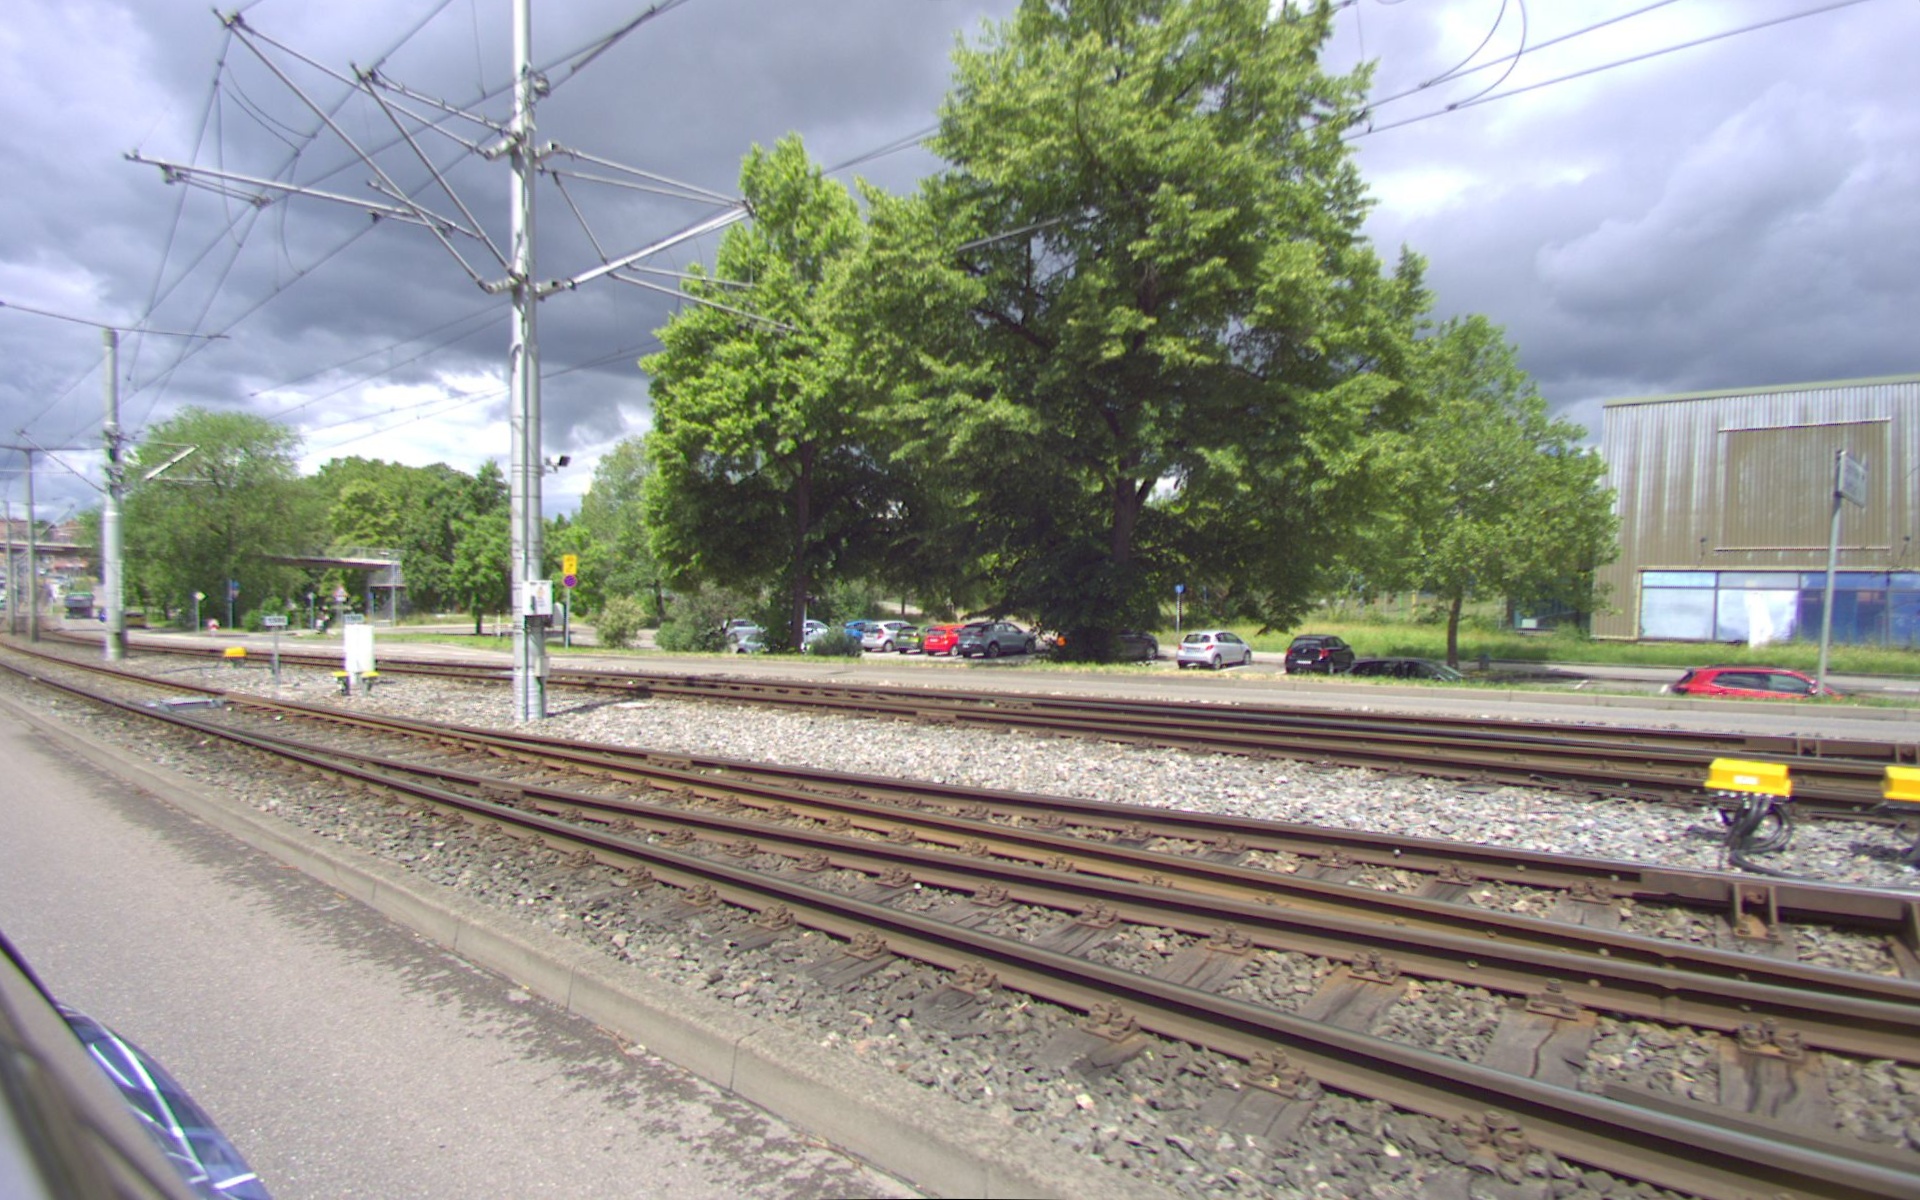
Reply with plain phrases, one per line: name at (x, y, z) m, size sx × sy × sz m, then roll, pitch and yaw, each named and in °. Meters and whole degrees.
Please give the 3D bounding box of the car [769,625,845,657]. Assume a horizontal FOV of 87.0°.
car at (-8.774, 2.320, 58.172) m, size 3.868 × 1.592 × 1.845 m, roll -3°, pitch 0°, yaw -41°

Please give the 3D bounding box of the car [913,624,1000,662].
car at (-0.151, 2.094, 50.126) m, size 3.907 × 1.592 × 1.999 m, roll -3°, pitch 0°, yaw -42°

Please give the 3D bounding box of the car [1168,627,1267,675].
car at (10.391, 2.013, 40.765) m, size 3.937 × 1.611 × 1.862 m, roll -3°, pitch 1°, yaw -39°

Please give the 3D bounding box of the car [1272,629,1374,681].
car at (13.579, 2.002, 37.753) m, size 3.938 × 1.611 × 1.862 m, roll -3°, pitch 1°, yaw -41°

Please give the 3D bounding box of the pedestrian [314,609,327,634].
pedestrian at (-46.800, 1.576, 74.031) m, size 0.653 × 1.769 × 0.719 m, roll -3°, pitch 3°, yaw -42°

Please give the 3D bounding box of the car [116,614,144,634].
car at (-73.258, 2.115, 89.319) m, size 1.669 × 1.461 × 3.903 m, roll -3°, pitch 3°, yaw -42°

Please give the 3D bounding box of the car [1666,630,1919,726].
car at (17.328, 1.555, 21.183) m, size 3.997 × 1.785 × 1.797 m, roll -2°, pitch -2°, yaw 40°

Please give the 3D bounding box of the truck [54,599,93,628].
truck at (-111.098, 1.597, 126.805) m, size 9.034 × 3.344 × 2.839 m, roll 1°, pitch 3°, yaw 44°

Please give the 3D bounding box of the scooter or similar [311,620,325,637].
scooter or similar at (-46.384, 2.083, 73.095) m, size 0.702 × 1.155 × 0.789 m, roll -3°, pitch 3°, yaw -41°

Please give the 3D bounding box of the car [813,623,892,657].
car at (-5.841, 2.156, 55.461) m, size 3.907 × 1.592 × 1.871 m, roll -3°, pitch 0°, yaw -42°

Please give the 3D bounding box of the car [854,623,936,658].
car at (-3.408, 2.138, 53.703) m, size 3.907 × 1.592 × 1.996 m, roll -3°, pitch 0°, yaw -42°

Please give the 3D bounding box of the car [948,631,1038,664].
car at (1.611, 2.251, 48.436) m, size 4.033 × 1.261 × 1.999 m, roll -3°, pitch 0°, yaw -42°

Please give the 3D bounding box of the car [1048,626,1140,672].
car at (5.729, 2.046, 43.197) m, size 3.550 × 1.649 × 1.954 m, roll -3°, pitch 1°, yaw -39°

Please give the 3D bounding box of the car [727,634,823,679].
car at (-8.102, 2.449, 44.189) m, size 4.067 × 1.768 × 1.969 m, roll -2°, pitch 0°, yaw 41°

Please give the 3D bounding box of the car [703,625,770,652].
car at (-14.009, 2.385, 63.449) m, size 3.821 × 1.401 × 1.576 m, roll -3°, pitch 3°, yaw -40°

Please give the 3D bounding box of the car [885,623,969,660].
car at (-1.666, 2.080, 51.705) m, size 3.907 × 1.592 × 1.999 m, roll -3°, pitch 0°, yaw -42°

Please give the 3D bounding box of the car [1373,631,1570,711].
car at (12.653, 1.700, 25.161) m, size 4.000 × 1.785 × 1.796 m, roll -2°, pitch -2°, yaw 43°
